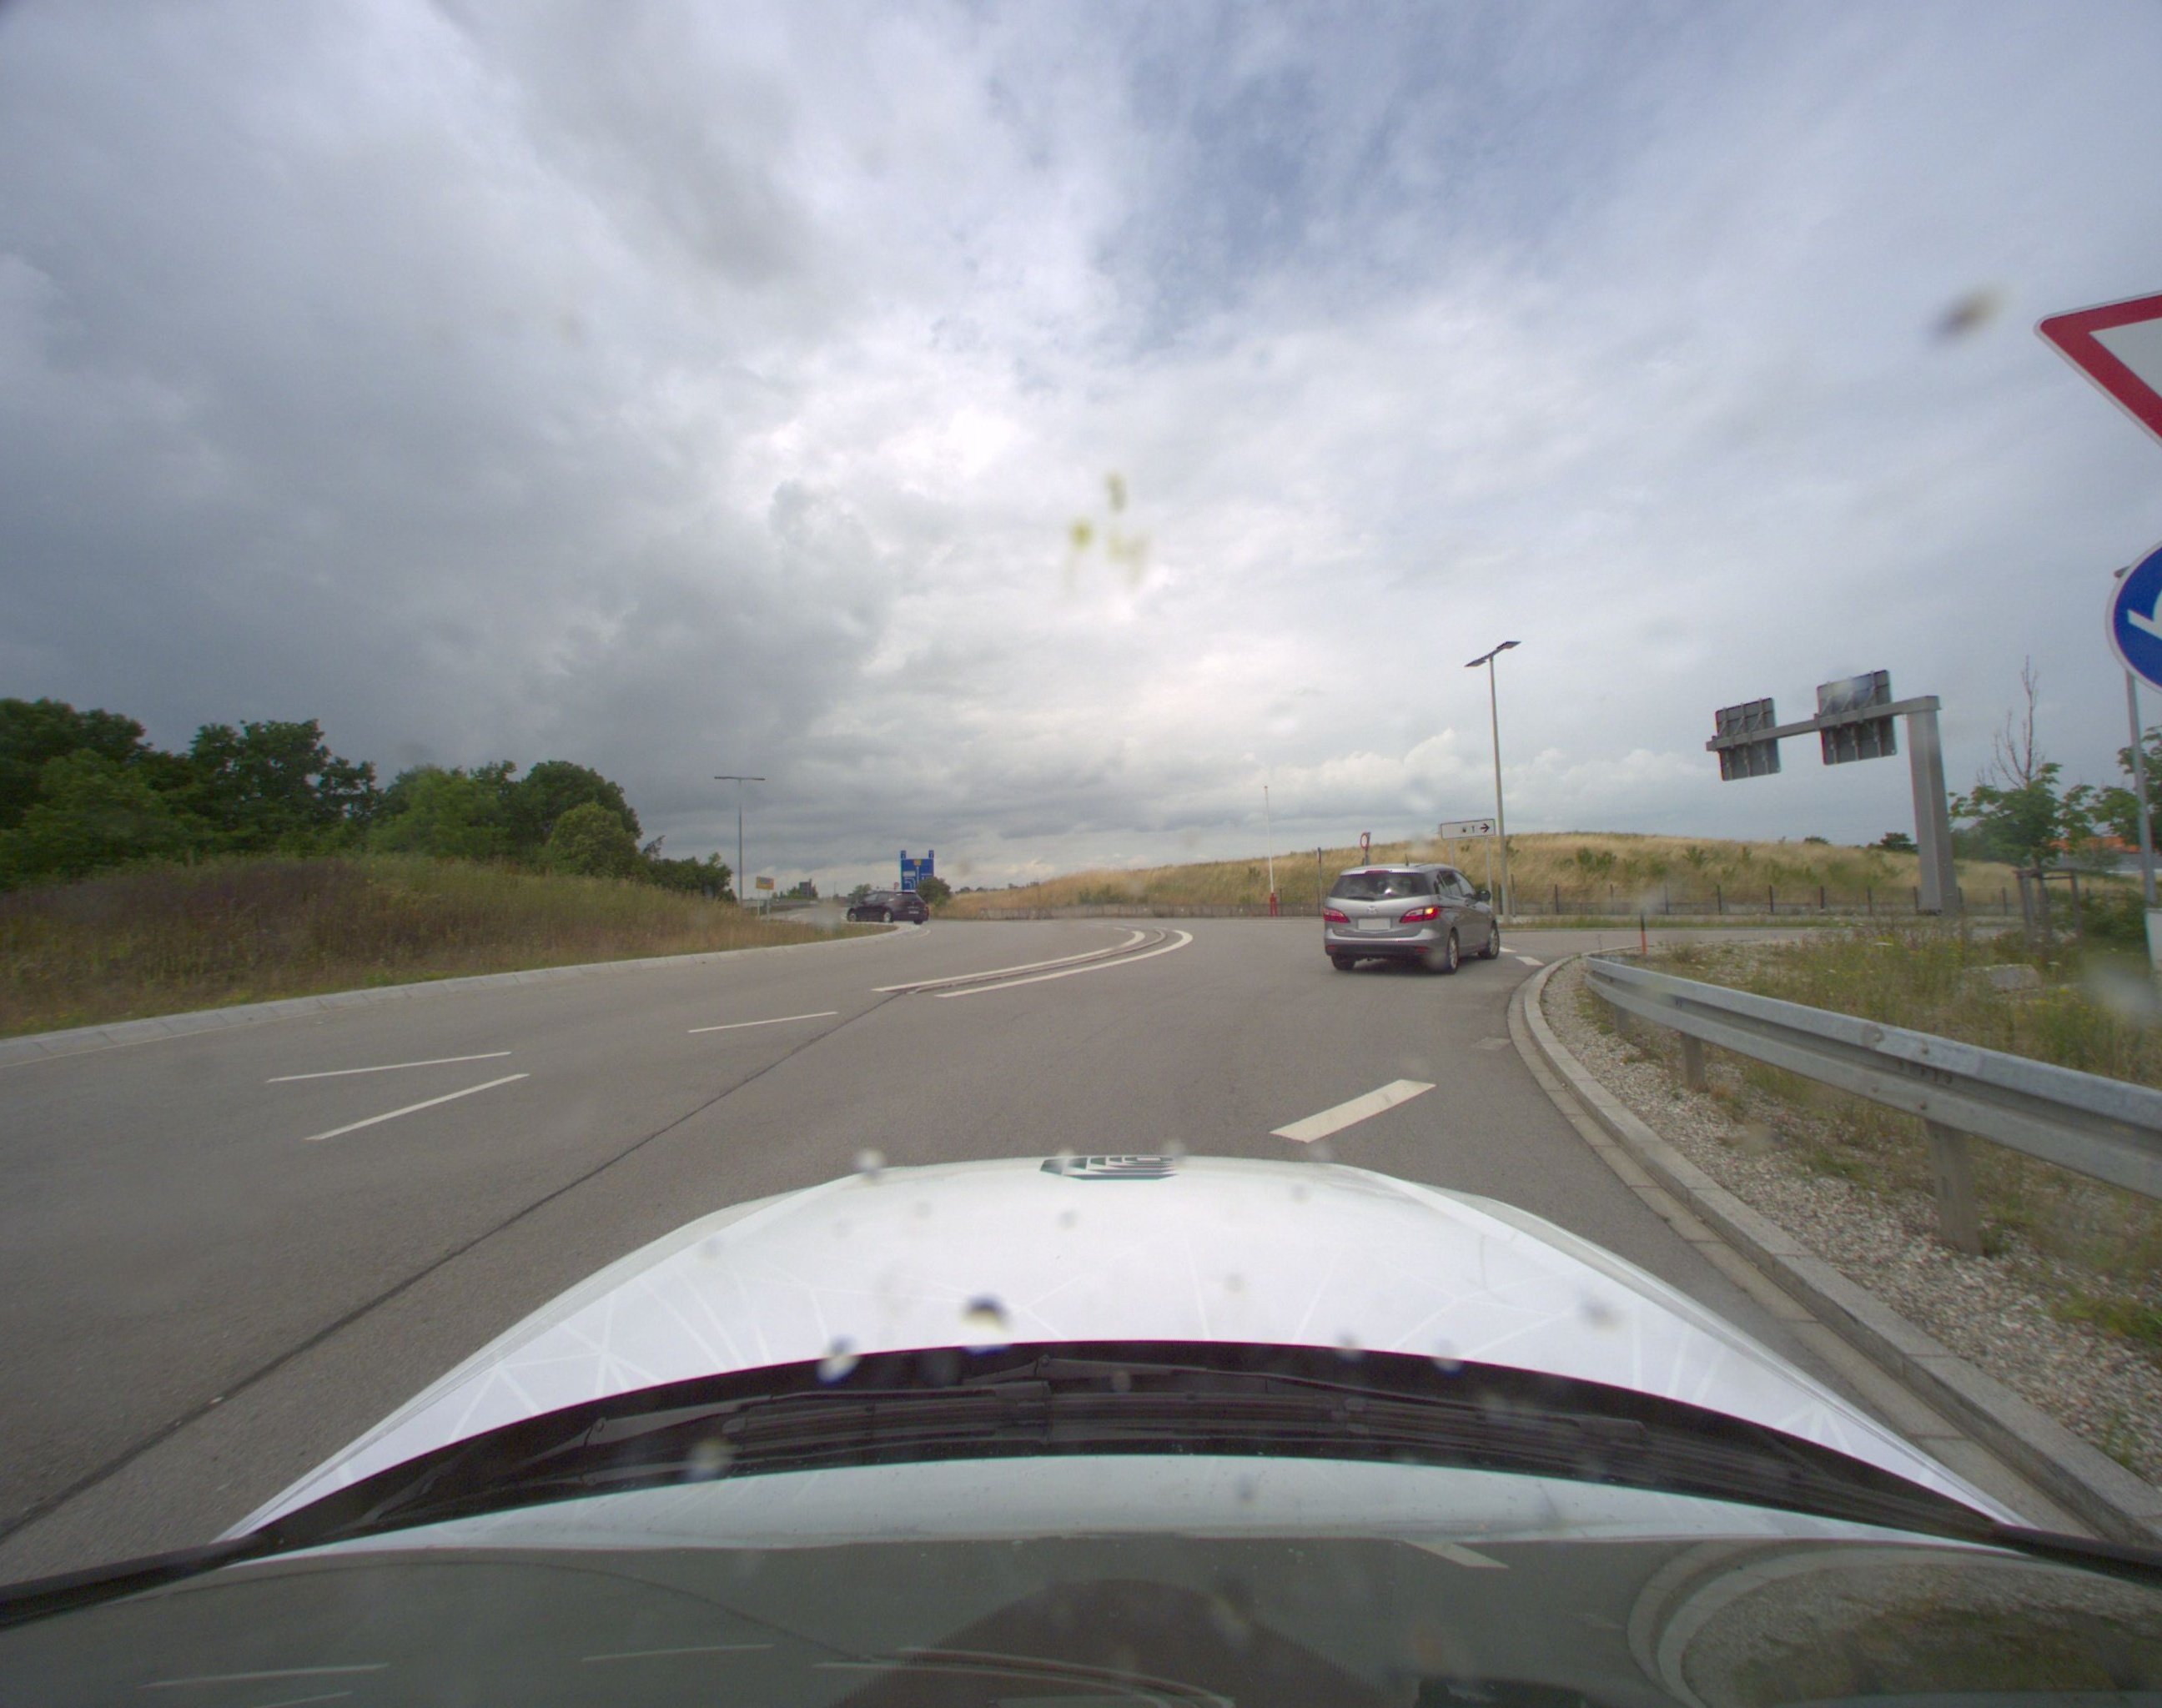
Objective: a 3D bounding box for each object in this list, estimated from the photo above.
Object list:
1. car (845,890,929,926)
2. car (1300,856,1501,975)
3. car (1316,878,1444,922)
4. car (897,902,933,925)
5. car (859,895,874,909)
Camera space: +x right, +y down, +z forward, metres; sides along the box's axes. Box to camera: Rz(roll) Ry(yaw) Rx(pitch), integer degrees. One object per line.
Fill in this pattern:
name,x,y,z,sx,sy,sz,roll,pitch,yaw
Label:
car,-8.300,2.287,34.643,1.676,1.378,3.950,-1,-2,-44
car,5.200,0.882,12.929,1.892,1.574,4.025,-3,-3,37
car,11.715,1.791,32.109,4.399,1.629,1.784,-1,-1,0
car,-11.388,4.045,55.612,1.526,1.486,3.582,1,-4,-27
car,-26.918,5.978,102.286,1.603,1.549,4.020,-2,-2,-18
